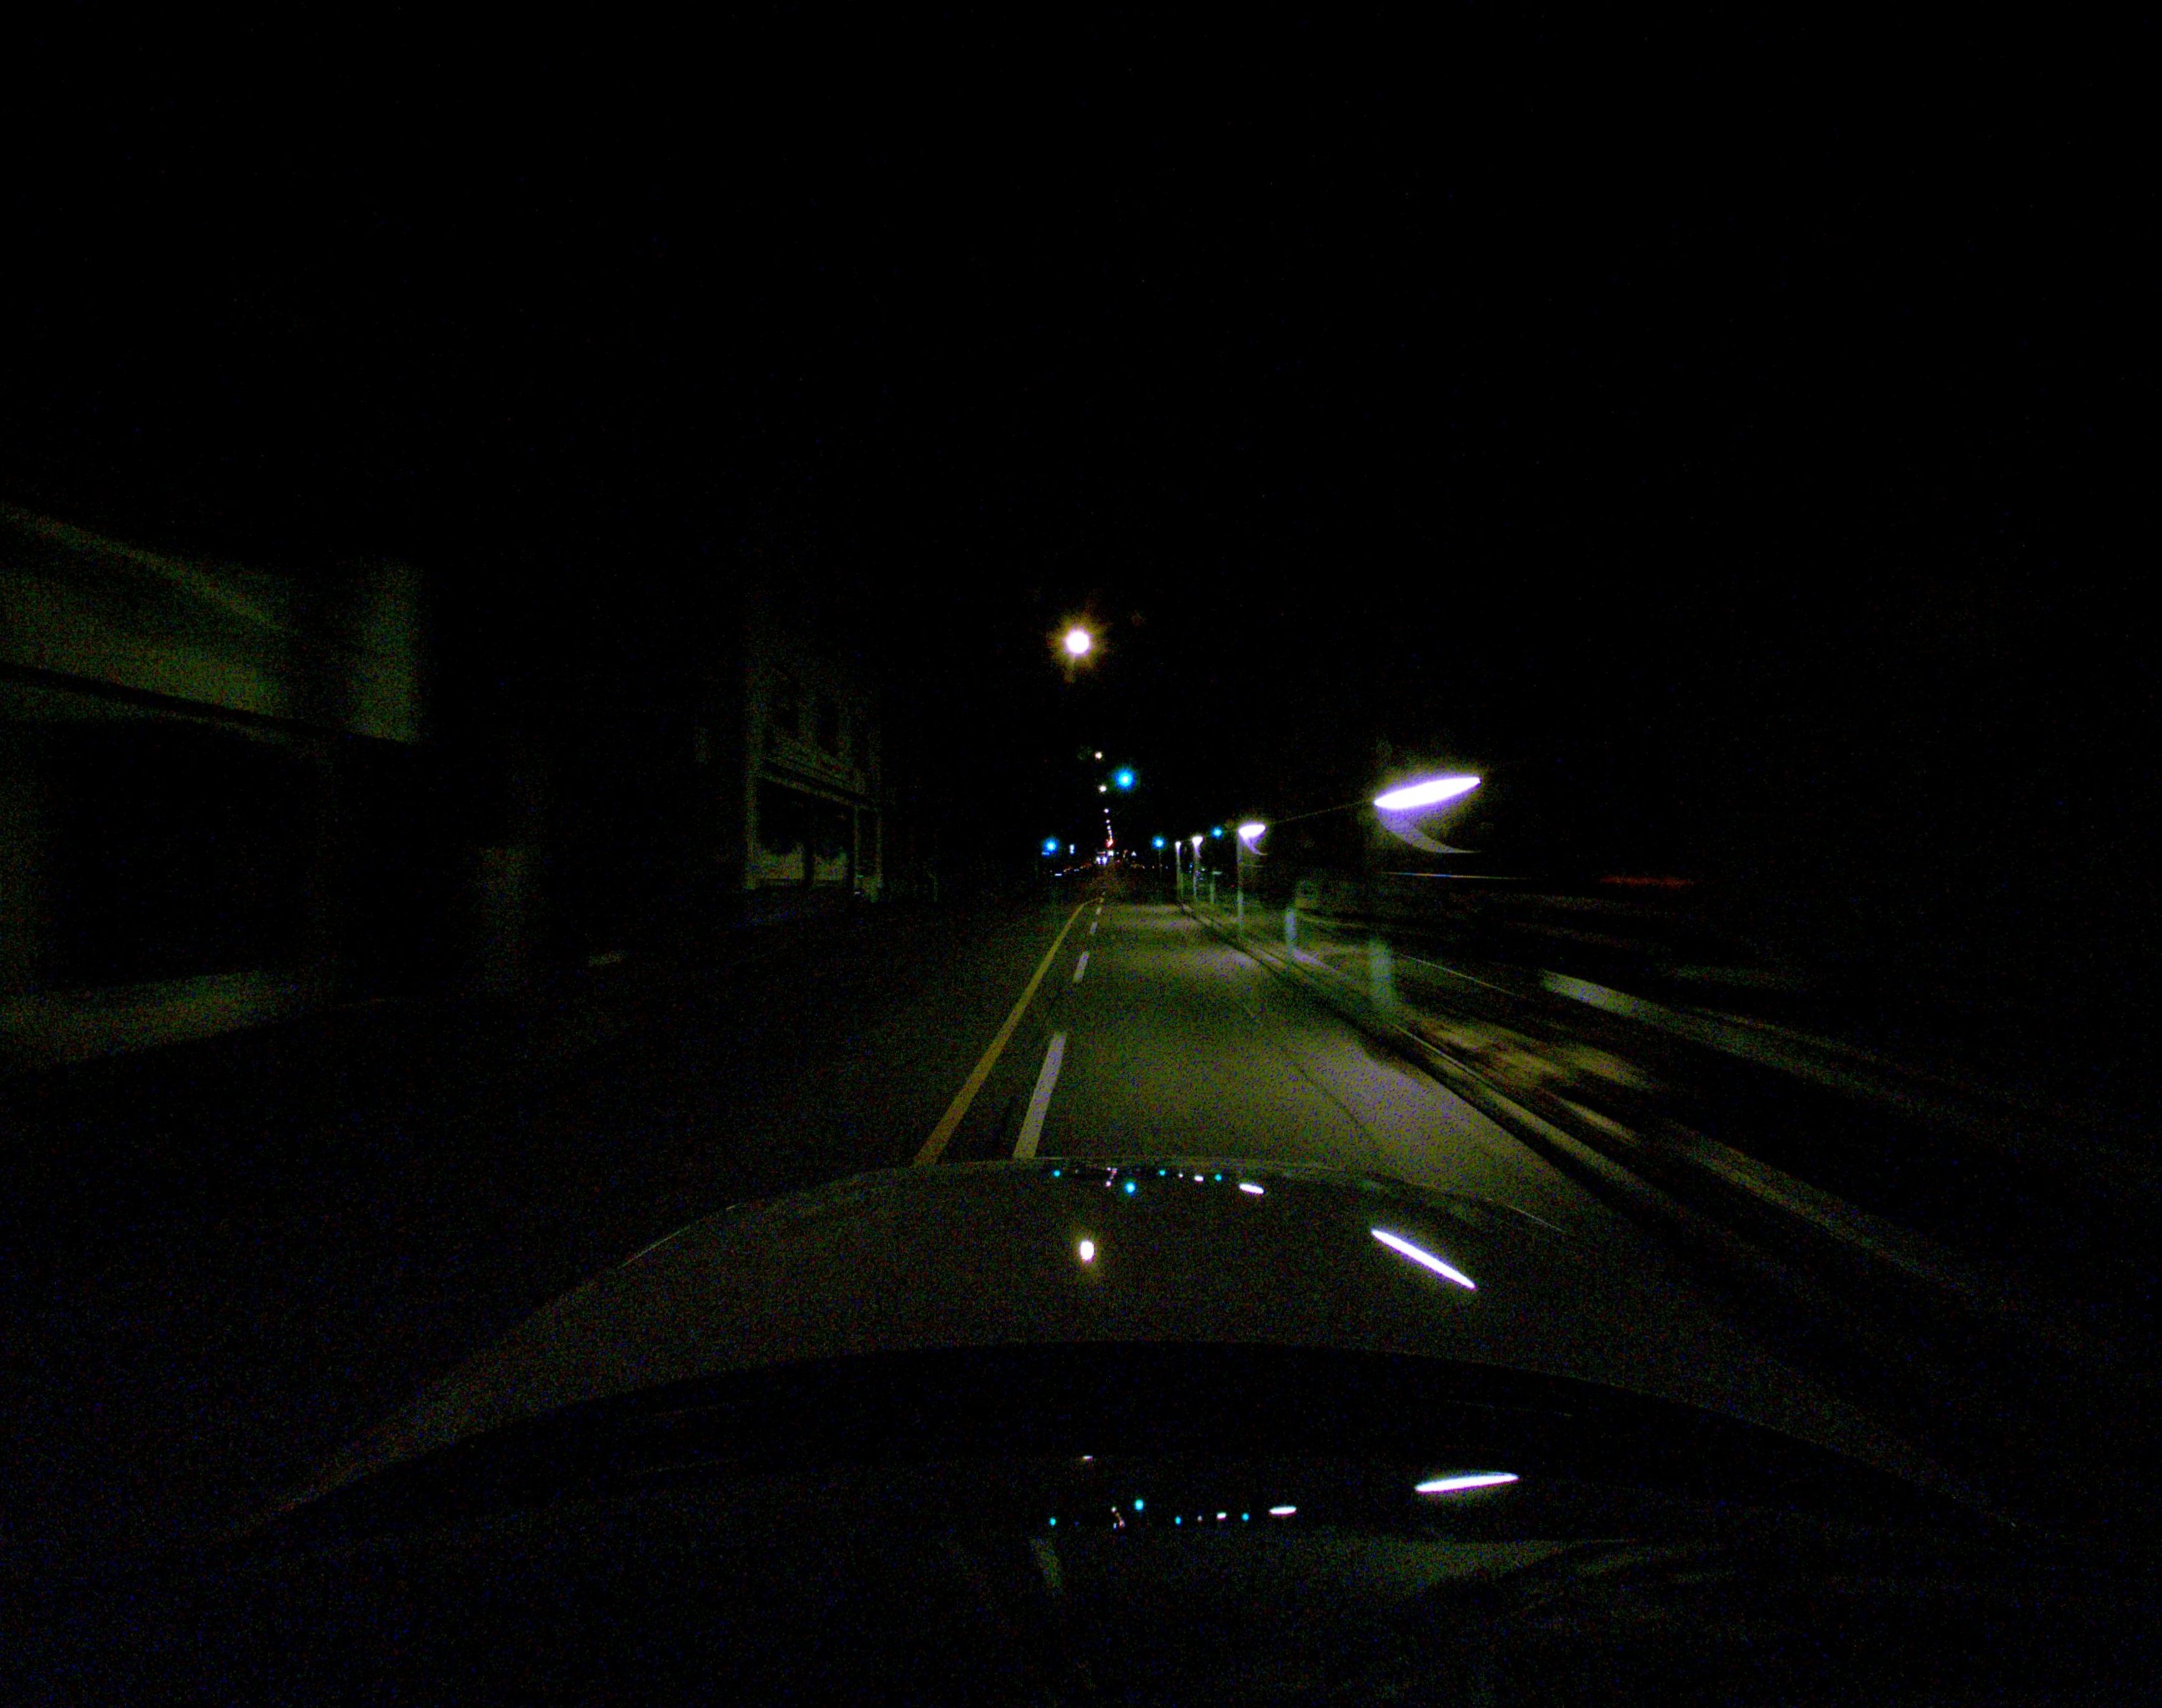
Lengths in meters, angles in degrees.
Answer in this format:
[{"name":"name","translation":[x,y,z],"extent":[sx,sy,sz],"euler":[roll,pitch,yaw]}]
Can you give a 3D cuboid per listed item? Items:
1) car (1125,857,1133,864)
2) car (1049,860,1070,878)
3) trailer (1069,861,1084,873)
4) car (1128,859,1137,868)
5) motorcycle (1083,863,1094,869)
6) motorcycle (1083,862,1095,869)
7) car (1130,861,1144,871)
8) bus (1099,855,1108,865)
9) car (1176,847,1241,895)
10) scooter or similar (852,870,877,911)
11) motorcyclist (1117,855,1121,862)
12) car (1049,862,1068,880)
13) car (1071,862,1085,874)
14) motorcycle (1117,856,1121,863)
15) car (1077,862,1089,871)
[{"name":"car","translation":[12.271,1.708,209.053],"extent":[1.805,1.594,4.276],"euler":[-3,0,2]},{"name":"car","translation":[-2.014,1.410,76.792],"extent":[1.843,1.650,4.669],"euler":[0,0,-1]},{"name":"trailer","translation":[-0.563,1.840,113.203],"extent":[1.629,1.640,3.445],"euler":[0,-1,7]},{"name":"car","translation":[10.135,1.849,160.186],"extent":[1.756,1.476,4.083],"euler":[-3,0,3]},{"name":"motorcycle","translation":[1.405,2.161,149.427],"extent":[0.719,1.147,2.183],"euler":[-2,0,-40]},{"name":"motorcycle","translation":[1.540,2.132,151.444],"extent":[2.180,1.131,0.720],"euler":[-2,0,35]},{"name":"car","translation":[8.376,1.786,121.706],"extent":[1.838,1.417,4.646],"euler":[-4,-1,2]},{"name":"bus","translation":[7.223,1.821,263.054],"extent":[2.826,3.177,10.504],"euler":[0,0,2]},{"name":"car","translation":[5.207,0.676,33.989],"extent":[1.905,1.827,4.899],"euler":[-1,-1,0]},{"name":"scooter or similar","translation":[-6.731,1.125,25.341],"extent":[0.330,1.225,1.336],"euler":[0,-1,4]},{"name":"motorcyclist","translation":[9.778,1.168,209.992],"extent":[0.845,1.752,0.806],"euler":[0,-1,2]},{"name":"car","translation":[-1.951,1.454,70.763],"extent":[1.643,1.514,3.699],"euler":[0,-1,-1]},{"name":"car","translation":[-0.413,1.845,108.658],"extent":[1.808,1.484,4.348],"euler":[-1,-1,1]},{"name":"motorcycle","translation":[9.782,1.383,209.988],"extent":[0.927,1.752,2.626],"euler":[0,-1,2]},{"name":"car","translation":[0.402,2.002,132.901],"extent":[1.857,1.492,4.281],"euler":[0,-1,1]}]
